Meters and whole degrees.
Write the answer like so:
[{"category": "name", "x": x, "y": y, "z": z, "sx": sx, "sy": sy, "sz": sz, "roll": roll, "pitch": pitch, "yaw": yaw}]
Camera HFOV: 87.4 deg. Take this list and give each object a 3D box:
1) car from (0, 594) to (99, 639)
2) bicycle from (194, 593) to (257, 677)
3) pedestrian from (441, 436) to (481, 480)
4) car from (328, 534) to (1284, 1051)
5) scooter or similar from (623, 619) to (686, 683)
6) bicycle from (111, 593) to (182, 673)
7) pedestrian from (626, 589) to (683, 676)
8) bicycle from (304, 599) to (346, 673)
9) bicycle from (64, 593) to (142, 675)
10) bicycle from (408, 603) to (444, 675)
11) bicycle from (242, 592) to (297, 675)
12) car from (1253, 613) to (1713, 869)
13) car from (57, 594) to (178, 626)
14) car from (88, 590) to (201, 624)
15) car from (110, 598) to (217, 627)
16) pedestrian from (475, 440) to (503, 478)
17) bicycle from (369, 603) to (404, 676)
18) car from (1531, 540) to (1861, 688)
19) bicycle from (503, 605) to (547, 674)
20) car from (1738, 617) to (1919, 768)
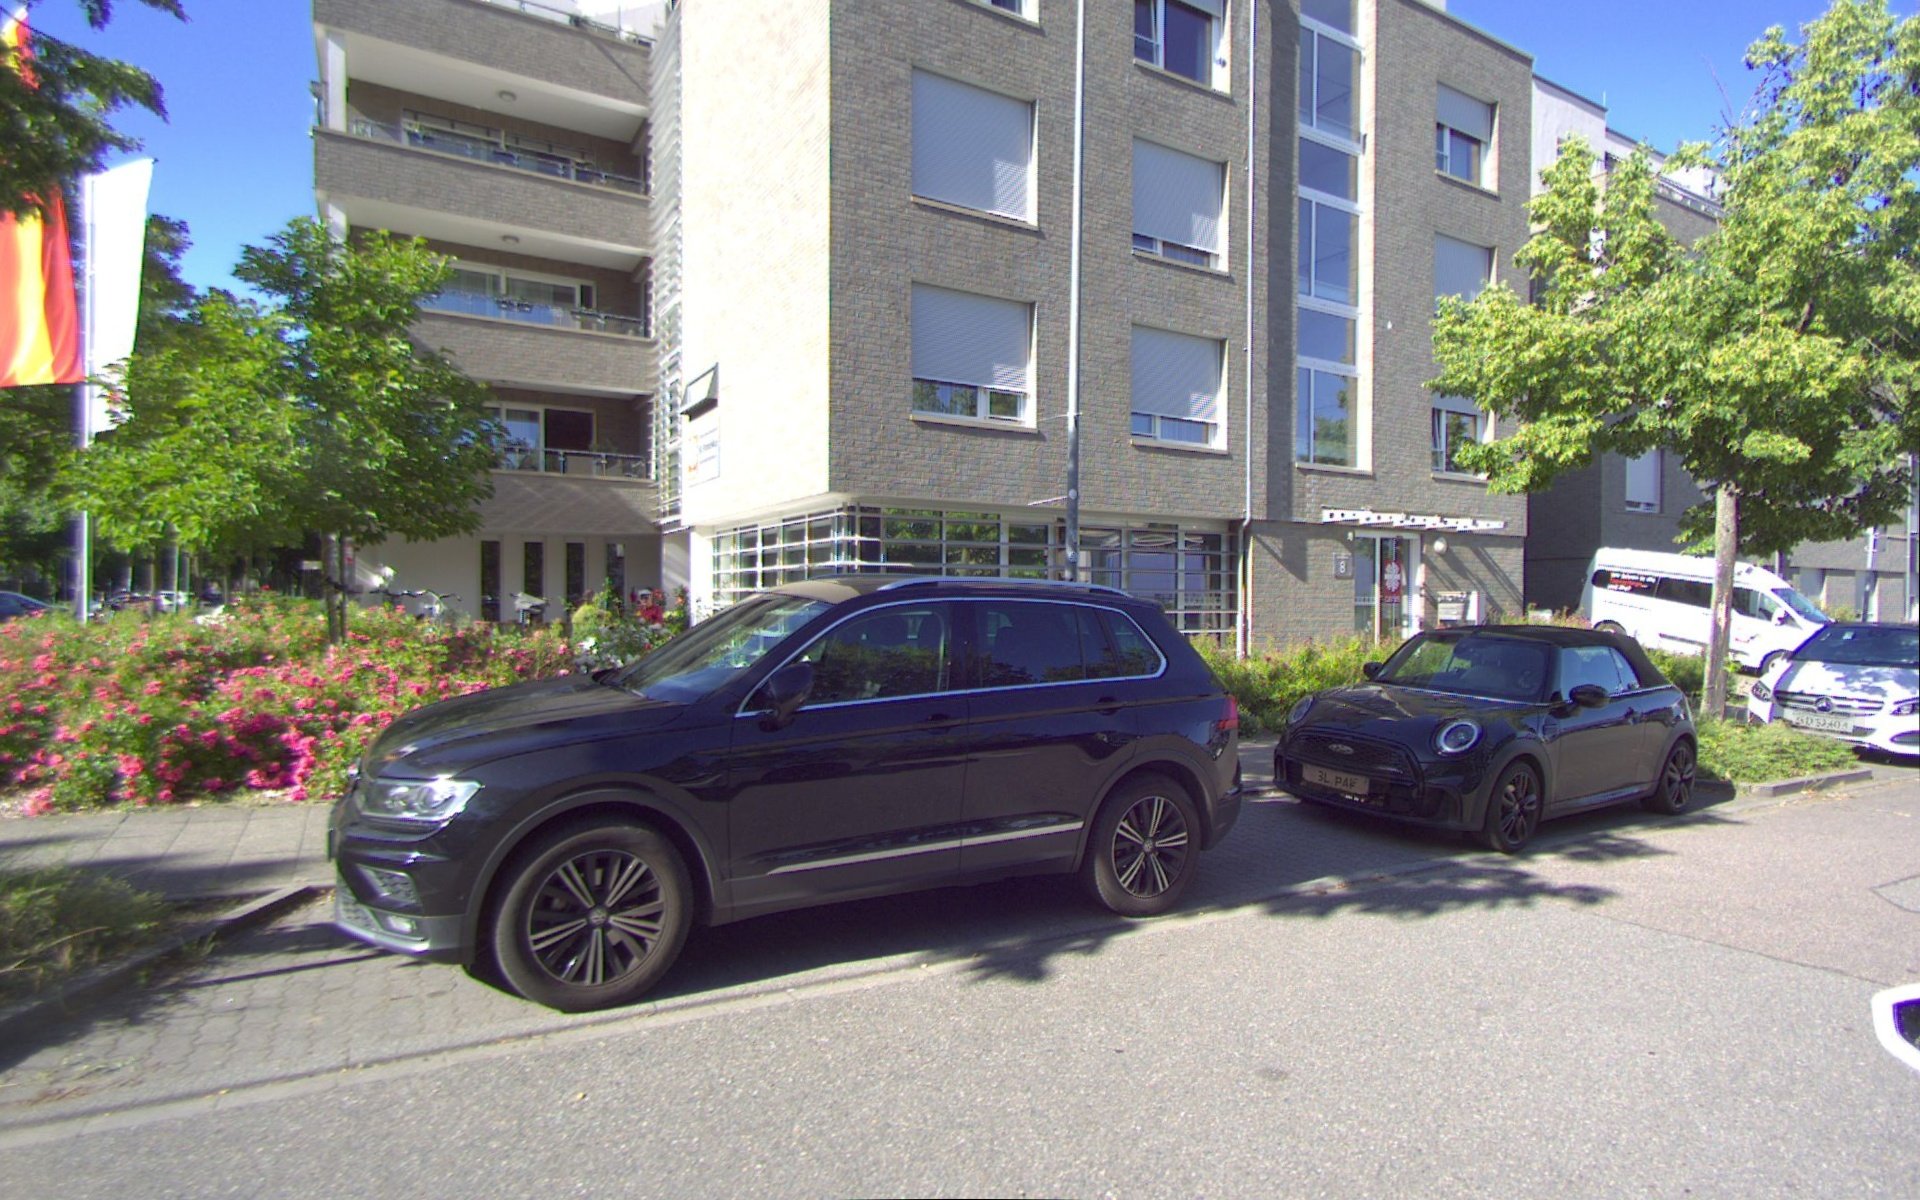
[{"category": "car", "x": -30.857, "y": 0.519, "z": 32.776, "sx": 3.958, "sy": 1.430, "sz": 1.800, "roll": -1, "pitch": 1, "yaw": -34}, {"category": "bicycle", "x": -9.984, "y": 0.433, "z": 13.704, "sx": 0.433, "sy": 1.061, "sz": 2.175, "roll": -1, "pitch": 1, "yaw": -30}, {"category": "pedestrian", "x": -10.235, "y": -2.904, "z": 20.587, "sx": 0.677, "sy": 0.809, "sz": 0.359, "roll": -1, "pitch": 1, "yaw": -38}, {"category": "car", "x": -0.595, "y": 0.674, "z": 5.096, "sx": 4.288, "sy": 1.641, "sz": 1.878, "roll": 2, "pitch": -1, "yaw": -30}, {"category": "scooter or similar", "x": -4.913, "y": 0.806, "z": 16.141, "sx": 0.796, "sy": 0.967, "sz": 0.861, "roll": -1, "pitch": 1, "yaw": -30}, {"category": "bicycle", "x": -11.675, "y": 0.438, "z": 14.461, "sx": 0.433, "sy": 1.061, "sz": 2.175, "roll": -1, "pitch": 1, "yaw": -30}, {"category": "pedestrian", "x": -4.913, "y": 0.508, "z": 16.143, "sx": 0.736, "sy": 1.352, "sz": 0.665, "roll": 1, "pitch": 0, "yaw": -29}, {"category": "bicycle", "x": -9.848, "y": 0.521, "z": 15.612, "sx": 0.433, "sy": 1.061, "sz": 2.175, "roll": -1, "pitch": 1, "yaw": -30}, {"category": "bicycle", "x": -12.082, "y": 0.440, "z": 14.210, "sx": 0.433, "sy": 1.061, "sz": 2.175, "roll": -1, "pitch": 1, "yaw": -30}, {"category": "bicycle", "x": -8.556, "y": 0.585, "z": 16.064, "sx": 0.433, "sy": 1.061, "sz": 2.175, "roll": -1, "pitch": 1, "yaw": -30}, {"category": "bicycle", "x": -9.554, "y": 0.421, "z": 13.940, "sx": 0.433, "sy": 1.061, "sz": 2.175, "roll": -1, "pitch": 1, "yaw": -30}, {"category": "car", "x": 4.139, "y": 0.893, "z": 7.774, "sx": 3.751, "sy": 1.524, "sz": 1.568, "roll": 1, "pitch": -1, "yaw": -34}, {"category": "car", "x": -40.605, "y": 0.464, "z": 48.533, "sx": 4.224, "sy": 1.500, "sz": 1.785, "roll": 0, "pitch": 0, "yaw": -32}, {"category": "car", "x": -41.665, "y": 0.320, "z": 51.441, "sx": 4.188, "sy": 1.624, "sz": 1.937, "roll": -2, "pitch": 2, "yaw": -30}, {"category": "car", "x": -44.275, "y": 0.680, "z": 55.981, "sx": 4.477, "sy": 1.471, "sz": 1.922, "roll": -1, "pitch": 1, "yaw": -35}, {"category": "pedestrian", "x": -9.501, "y": -2.841, "z": 20.260, "sx": 0.413, "sy": 0.695, "sz": 0.423, "roll": -1, "pitch": 1, "yaw": -39}, {"category": "bicycle", "x": -9.014, "y": 0.578, "z": 15.793, "sx": 0.433, "sy": 1.061, "sz": 2.175, "roll": -1, "pitch": 1, "yaw": -30}, {"category": "car", "x": 16.197, "y": 0.164, "z": 22.511, "sx": 1.901, "sy": 2.415, "sz": 5.412, "roll": 1, "pitch": 8, "yaw": -33}, {"category": "bicycle", "x": -7.331, "y": 0.629, "z": 16.878, "sx": 0.433, "sy": 1.061, "sz": 2.175, "roll": -1, "pitch": 1, "yaw": -30}, {"category": "car", "x": 11.334, "y": 0.997, "z": 12.304, "sx": 4.243, "sy": 1.553, "sz": 1.649, "roll": 1, "pitch": 0, "yaw": -34}]
